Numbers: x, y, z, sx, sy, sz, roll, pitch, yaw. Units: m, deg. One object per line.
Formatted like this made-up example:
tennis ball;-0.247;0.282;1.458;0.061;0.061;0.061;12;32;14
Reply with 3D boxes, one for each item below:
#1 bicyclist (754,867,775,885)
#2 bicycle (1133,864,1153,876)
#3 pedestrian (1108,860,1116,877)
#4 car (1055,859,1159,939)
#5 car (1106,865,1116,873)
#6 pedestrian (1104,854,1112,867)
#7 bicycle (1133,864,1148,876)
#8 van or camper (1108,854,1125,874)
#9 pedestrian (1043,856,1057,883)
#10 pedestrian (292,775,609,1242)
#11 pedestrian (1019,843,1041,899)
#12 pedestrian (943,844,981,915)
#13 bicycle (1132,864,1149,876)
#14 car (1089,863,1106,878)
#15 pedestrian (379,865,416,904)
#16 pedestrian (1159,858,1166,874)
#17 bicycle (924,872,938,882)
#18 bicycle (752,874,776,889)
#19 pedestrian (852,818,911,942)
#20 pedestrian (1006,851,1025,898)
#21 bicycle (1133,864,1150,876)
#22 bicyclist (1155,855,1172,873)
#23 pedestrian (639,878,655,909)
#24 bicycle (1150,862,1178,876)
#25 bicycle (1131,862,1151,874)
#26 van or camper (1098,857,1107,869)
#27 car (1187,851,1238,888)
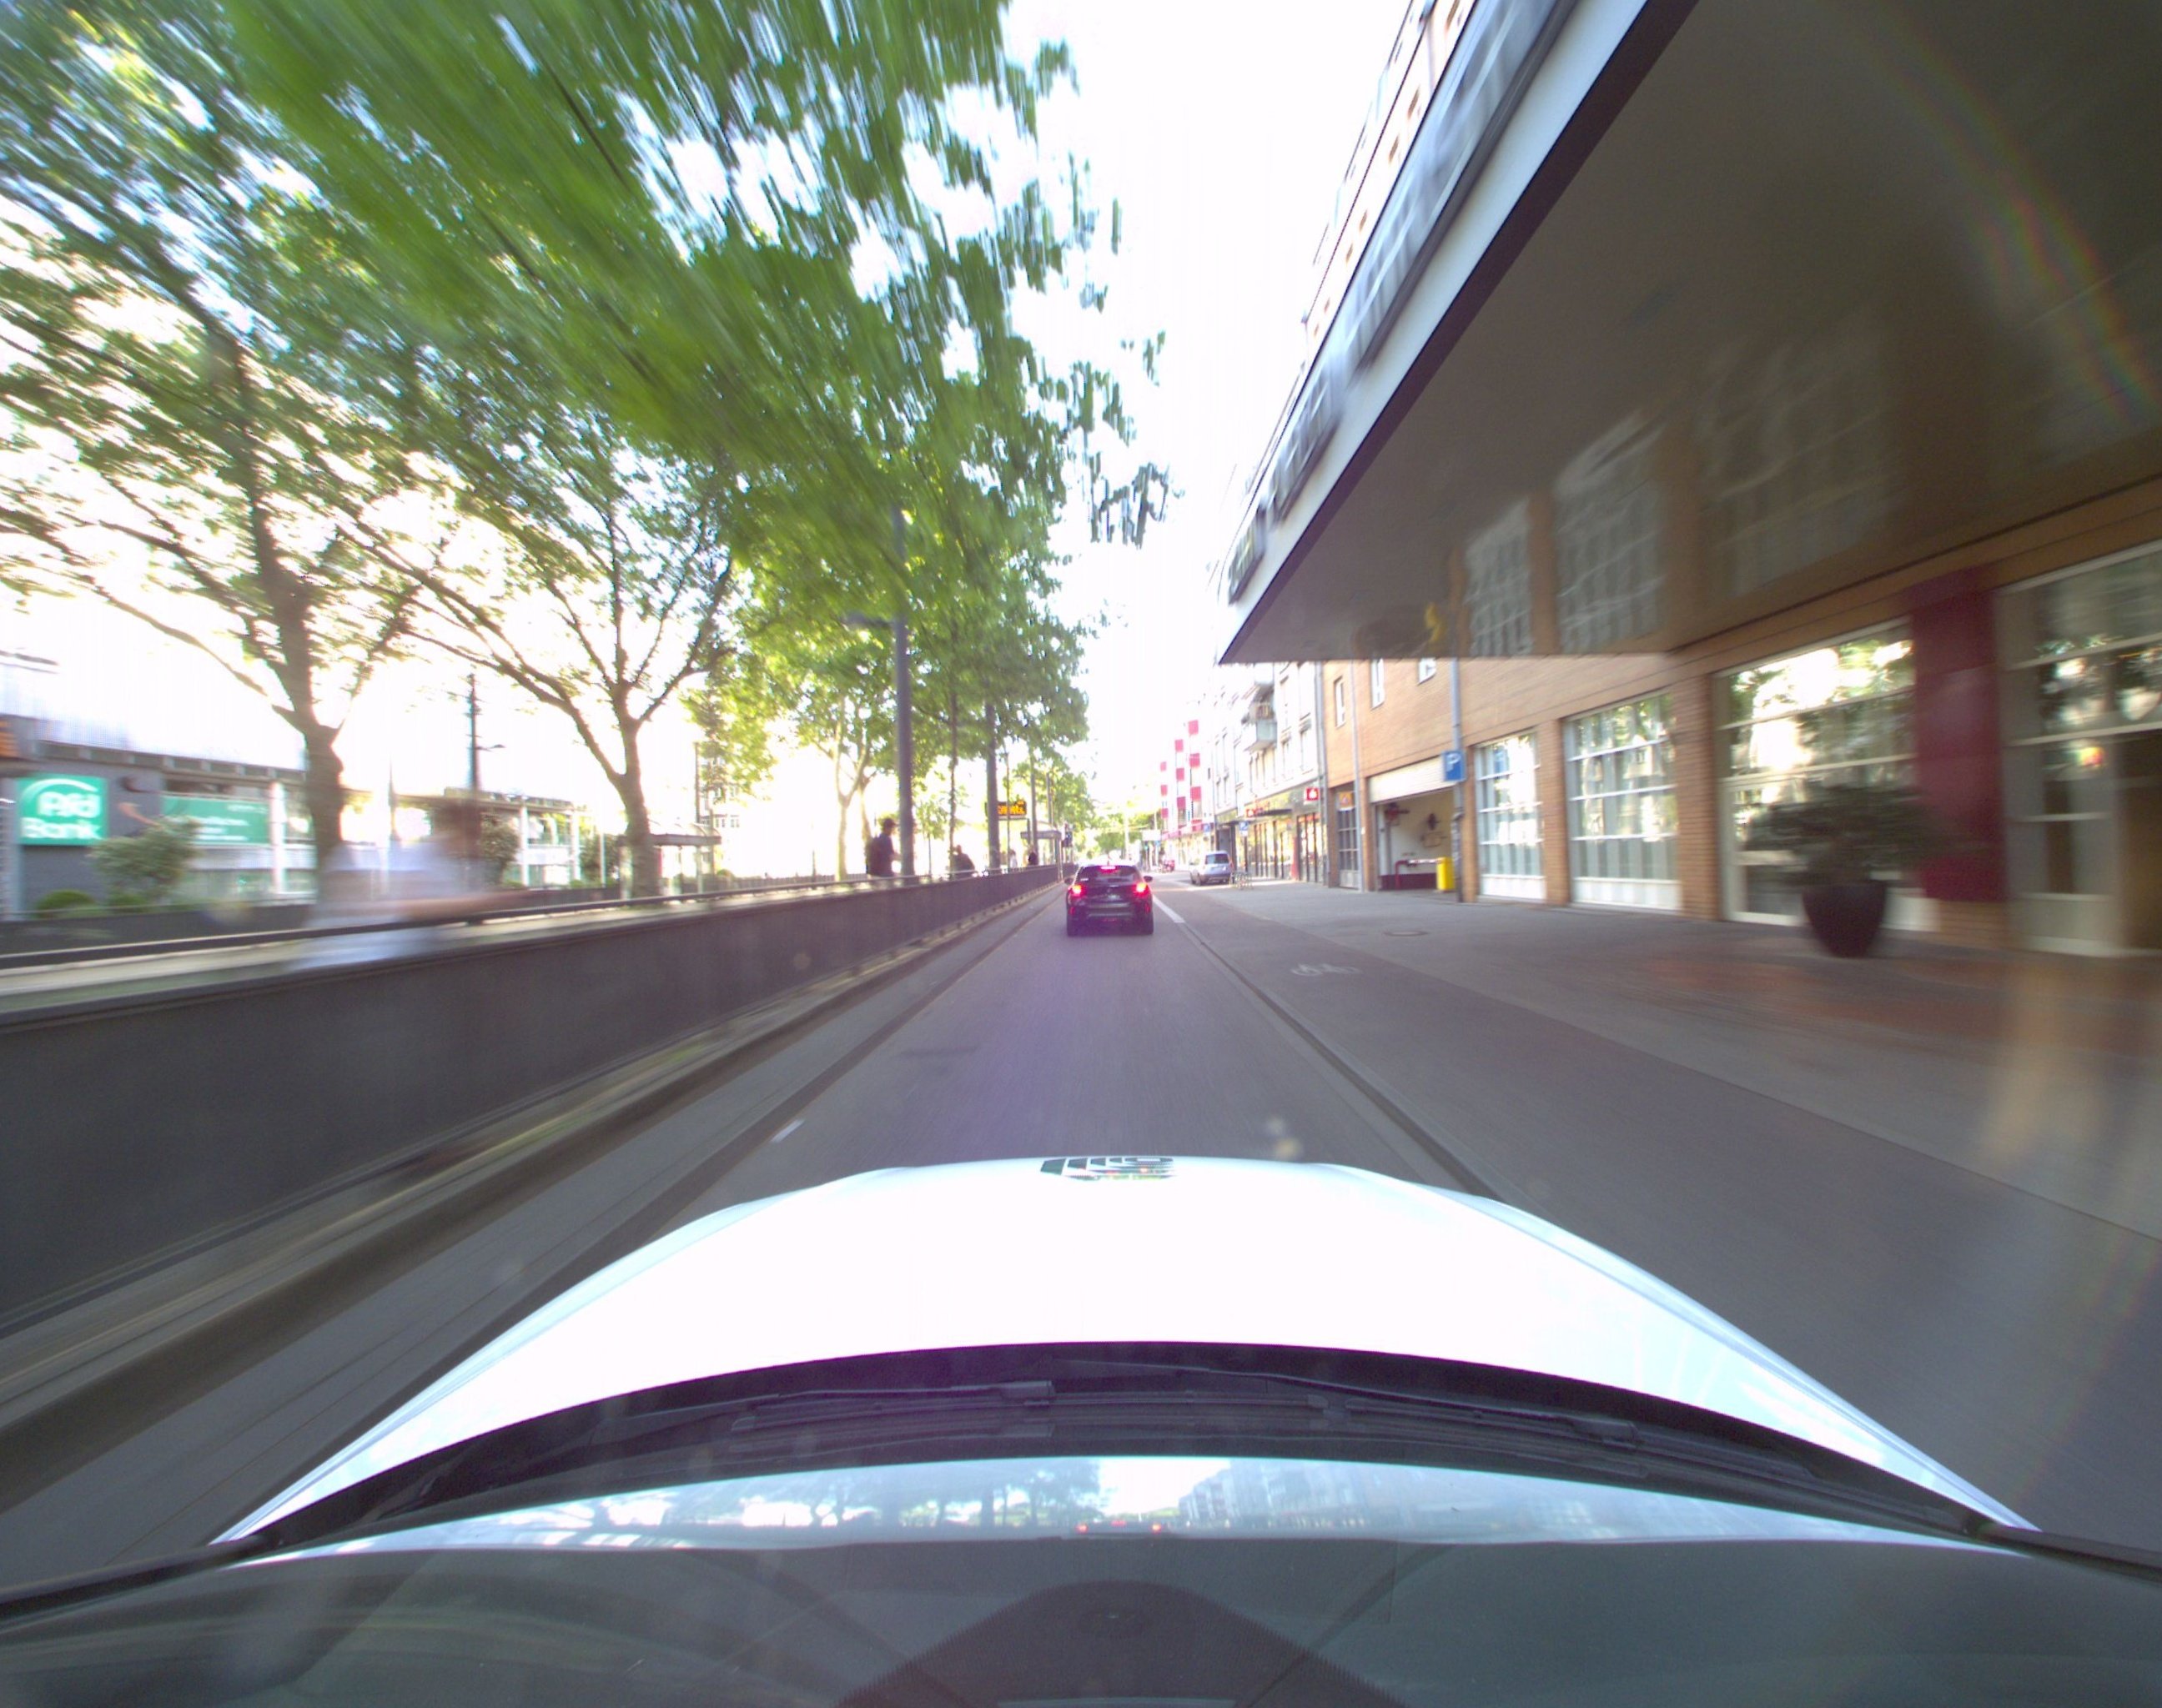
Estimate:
bicyclist;-22.675;1.539;58.318;1.001;1.250;1.373;-1;-1;-1
bicycle;6.520;1.677;85.989;1.973;1.199;0.590;-2;-1;-4
pedestrian;3.082;1.438;81.450;0.730;1.747;0.713;-2;-1;5
car;0.550;0.865;17.378;1.898;1.425;4.216;-2;-1;2
car;6.234;3.058;169.548;1.784;1.510;3.874;-4;-1;1
pedestrian;4.181;1.032;126.598;1.033;2.024;1.212;-2;-1;-1
bicycle;6.403;1.708;87.428;1.615;1.199;0.497;-2;-1;5
van or camper;6.253;1.725;142.544;2.368;3.125;7.548;-5;-1;0
pedestrian;-1.565;0.774;41.000;0.624;1.319;0.801;-2;-1;2
pedestrian;-2.480;0.562;3.290;0.738;1.690;0.645;0;-1;-1
pedestrian;-1.776;0.595;28.391;0.644;1.887;0.661;-2;-1;1
pedestrian;-2.918;0.624;20.073;0.726;1.702;0.863;-1;-1;3
bicycle;6.447;1.727;88.175;1.793;1.199;0.546;-2;-2;5
car;1.920;1.827;91.669;1.826;1.623;4.286;-1;-1;2
pedestrian;-29.358;1.294;34.975;0.903;1.592;0.767;-2;-1;0
pedestrian;9.680;1.407;96.927;0.720;1.858;0.801;-2;-1;0
bicycle;-14.285;2.173;77.639;0.808;0.946;1.729;-2;-1;7
bicycle;-22.671;1.971;58.289;0.798;0.997;2.584;-1;0;-1
pedestrian;-3.013;0.383;12.365;0.705;1.802;0.825;-2;-1;-6
pedestrian;-2.694;0.836;33.471;0.643;1.871;0.753;-2;-1;2
bicycle;6.440;1.703;86.856;1.823;1.221;0.496;-2;-1;4
bicyclist;7.485;0.894;73.630;1.065;1.540;1.066;-1;-1;-39
pedestrian;-28.479;2.601;53.413;0.604;1.976;0.833;-1;-1;-1
bicycle;7.520;1.379;73.585;0.968;1.183;2.567;-1;-1;-39
bicycle;6.270;1.480;85.036;1.935;1.170;0.572;-2;-1;-3
van or camper;5.665;2.387;216.145;2.477;2.994;5.435;0;-1;2
car;6.437;0.755;40.241;1.826;1.622;4.286;-5;-1;2
